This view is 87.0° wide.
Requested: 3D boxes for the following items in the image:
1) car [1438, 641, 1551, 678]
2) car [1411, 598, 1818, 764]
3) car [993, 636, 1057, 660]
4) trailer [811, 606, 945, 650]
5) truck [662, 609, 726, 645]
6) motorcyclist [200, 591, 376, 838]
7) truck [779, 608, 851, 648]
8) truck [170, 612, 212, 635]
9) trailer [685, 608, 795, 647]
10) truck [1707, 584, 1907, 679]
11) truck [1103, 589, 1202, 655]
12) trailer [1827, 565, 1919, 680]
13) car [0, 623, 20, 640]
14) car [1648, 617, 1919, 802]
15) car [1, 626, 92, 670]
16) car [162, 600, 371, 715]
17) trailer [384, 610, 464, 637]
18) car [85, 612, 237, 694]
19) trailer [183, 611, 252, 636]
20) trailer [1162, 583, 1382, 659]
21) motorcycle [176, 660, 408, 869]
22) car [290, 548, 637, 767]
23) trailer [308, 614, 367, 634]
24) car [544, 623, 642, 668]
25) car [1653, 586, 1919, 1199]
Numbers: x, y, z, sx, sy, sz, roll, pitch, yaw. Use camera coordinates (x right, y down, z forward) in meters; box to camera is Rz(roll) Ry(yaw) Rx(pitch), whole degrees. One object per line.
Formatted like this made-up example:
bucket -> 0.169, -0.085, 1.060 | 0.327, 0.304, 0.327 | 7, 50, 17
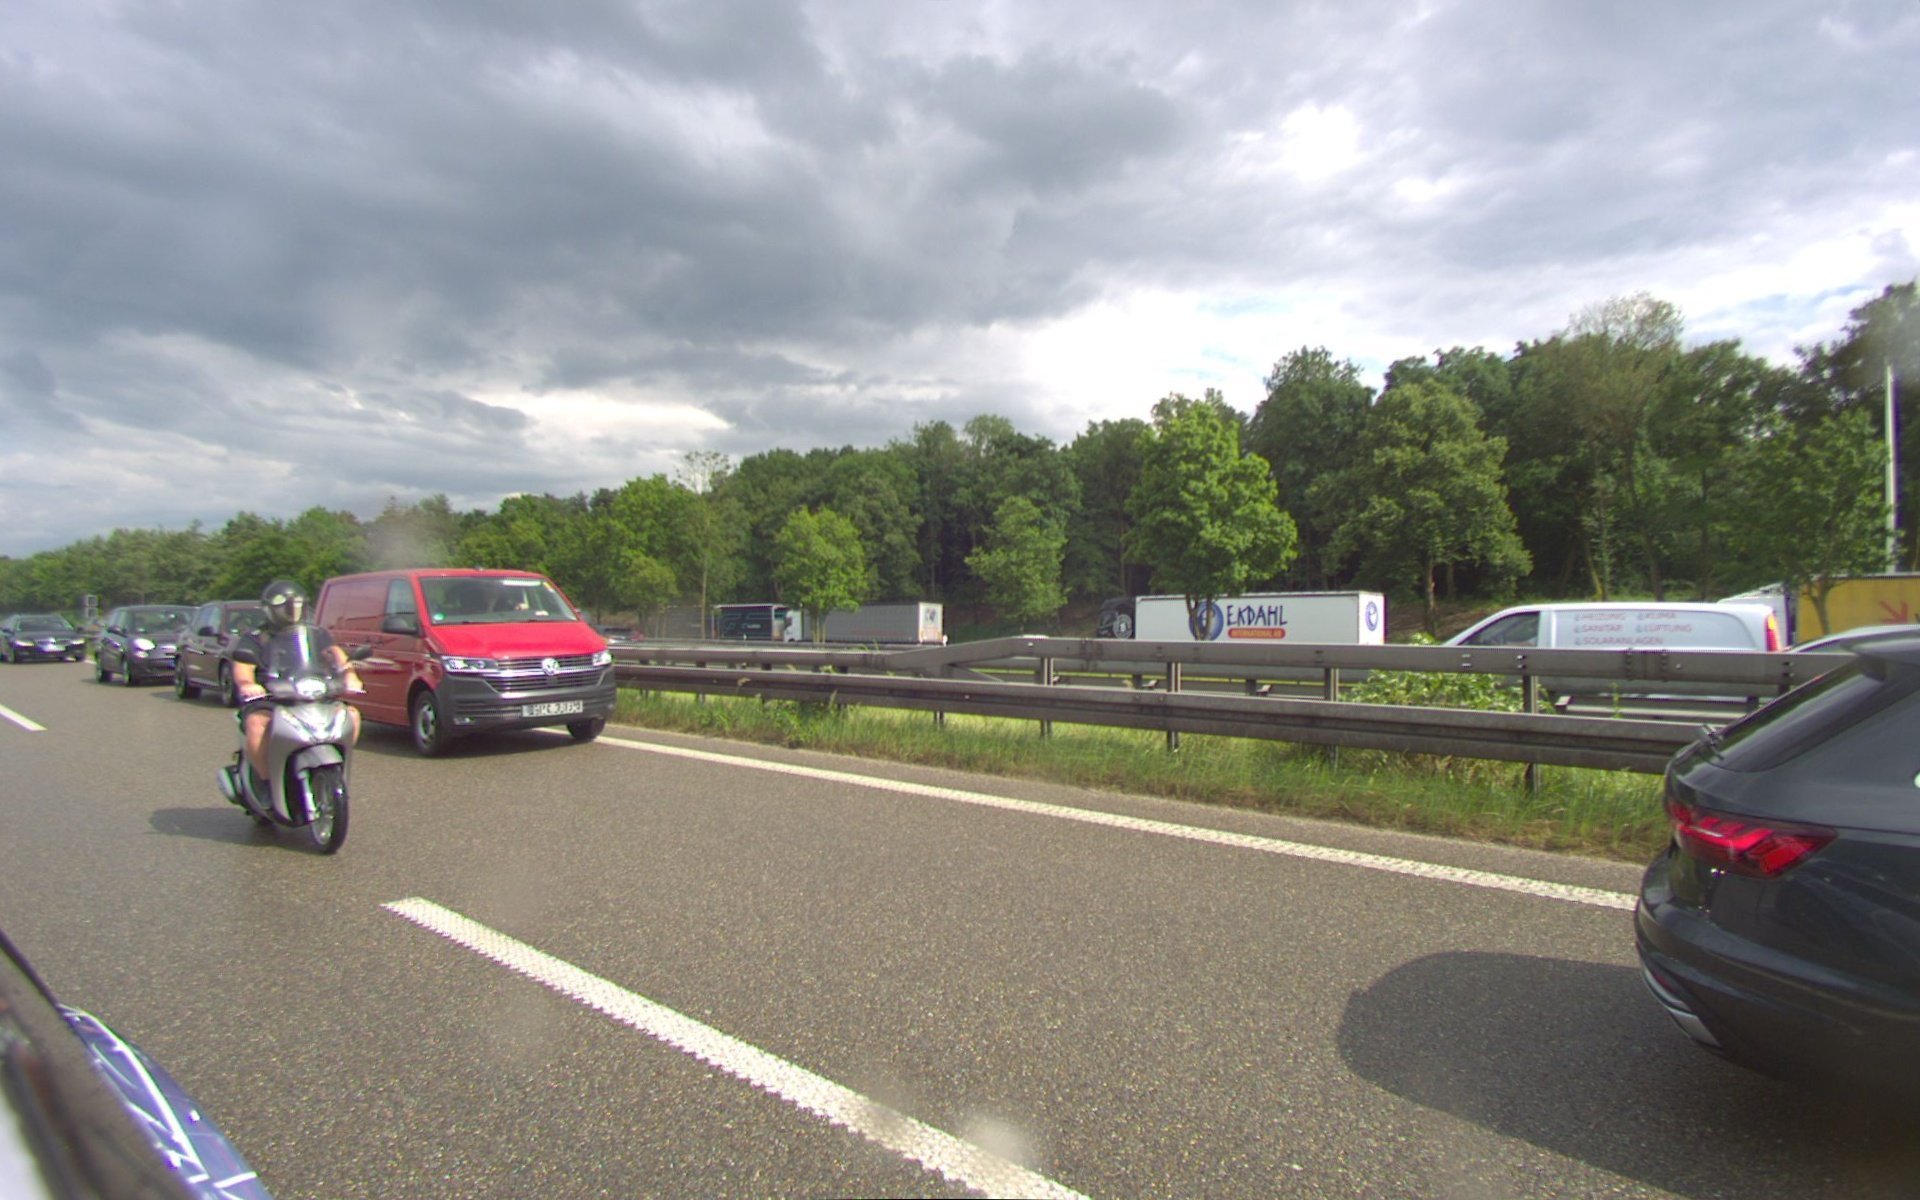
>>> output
car -> 23.462, 2.564, 44.495 | 1.871, 1.514, 4.006 | 2, -2, -41
car -> 9.323, 1.006, 14.672 | 4.728, 2.029, 1.973 | -1, 0, 41
car -> 4.291, 3.156, 66.993 | 1.873, 1.514, 4.002 | 2, -2, -45
trailer -> -6.528, 2.159, 78.101 | 12.175, 3.217, 2.986 | -1, -2, 43
truck -> -25.055, 2.499, 95.221 | 6.533, 3.275, 2.548 | -1, -2, 41
motorcyclist -> -4.340, 0.677, 6.533 | 1.019, 1.453, 0.664 | -1, 0, 38
truck -> -11.956, 2.285, 83.360 | 5.597, 3.208, 3.009 | -1, -2, 43
truck -> -118.530, 3.578, 156.016 | 6.309, 3.509, 2.673 | -1, -2, 27
trailer -> -19.918, 2.414, 90.739 | 12.642, 3.296, 2.577 | -1, -3, 41
truck -> 29.832, 1.045, 35.816 | 1.950, 3.121, 5.088 | -1, 0, -37
truck -> 11.155, 1.297, 59.094 | 2.136, 3.648, 5.586 | 2, -2, -41
trailer -> 34.443, 0.694, 29.599 | 1.967, 3.722, 13.690 | 0, 0, -36
car -> -115.899, 3.771, 122.783 | 3.993, 2.029, 1.975 | -1, -2, 37
car -> 8.959, 0.988, 9.710 | 3.779, 1.619, 1.518 | -1, 0, 40
car -> -28.613, 1.469, 31.661 | 3.998, 1.245, 1.653 | -1, -1, 41
car -> -11.658, 0.874, 16.909 | 4.293, 1.682, 1.870 | -1, -1, 41
trailer -> -67.403, 2.917, 127.142 | 13.377, 3.296, 3.050 | -1, -2, 35
car -> -17.175, 1.057, 21.692 | 4.051, 1.578, 1.870 | -1, -1, 41
trailer -> -112.155, 3.524, 152.711 | 13.355, 3.539, 2.681 | 0, -2, 27
trailer -> 16.081, 1.148, 53.453 | 2.155, 3.627, 11.735 | 2, -2, -41
motorcycle -> -4.376, 0.976, 6.566 | 1.979, 1.095, 0.669 | -1, 0, 39
car -> -5.801, 0.558, 11.519 | 4.748, 2.000, 1.870 | -1, -1, 41
trailer -> -84.748, 3.204, 137.807 | 9.841, 2.594, 2.511 | -1, -1, 30
car -> -15.220, 1.824, 41.829 | 4.500, 1.759, 1.847 | -1, -2, 41
car -> 3.985, 0.656, 1.739 | 4.464, 1.422, 1.702 | -1, -1, 40
